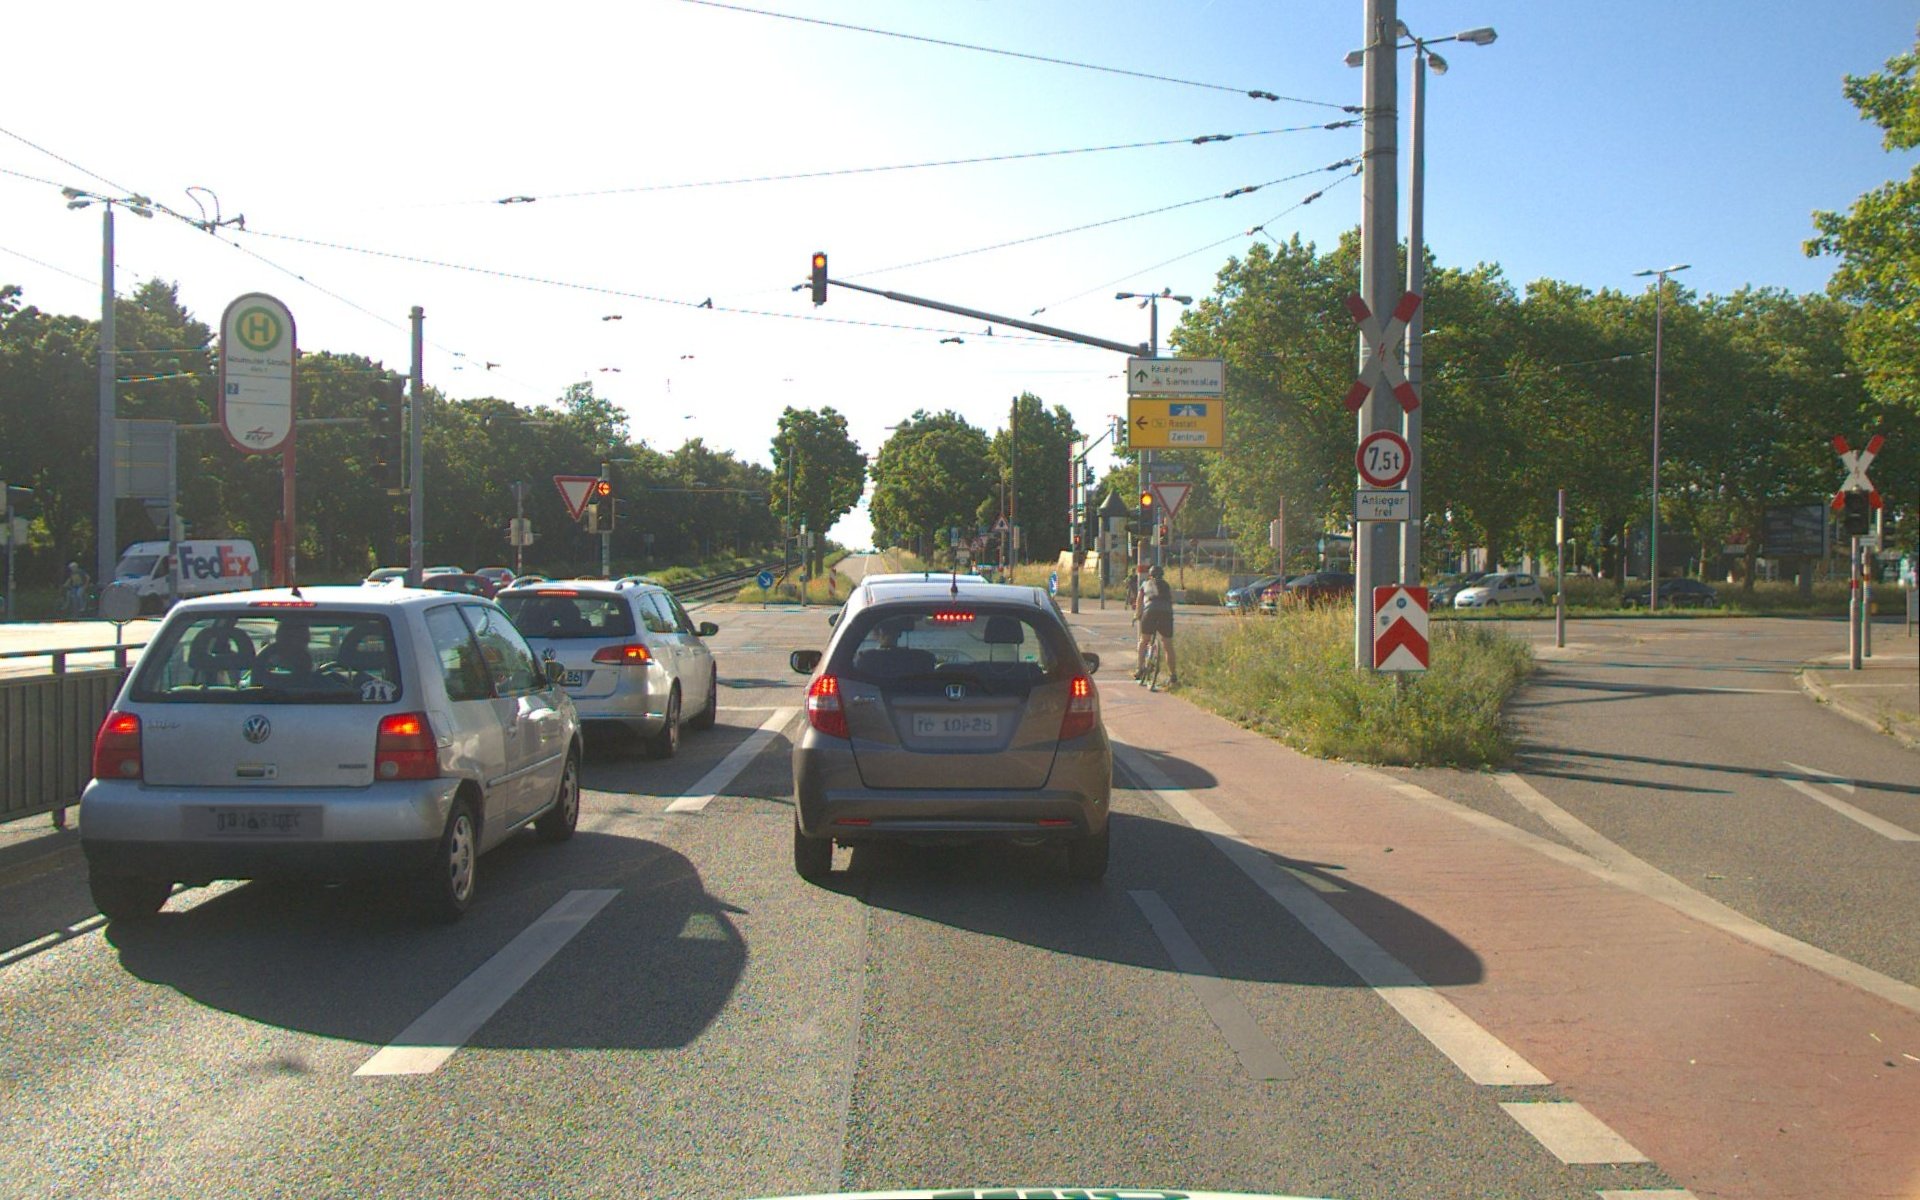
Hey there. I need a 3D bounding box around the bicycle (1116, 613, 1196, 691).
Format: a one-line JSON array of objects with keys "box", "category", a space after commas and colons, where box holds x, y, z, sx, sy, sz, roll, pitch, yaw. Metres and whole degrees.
[{"box": [2.762, 0.707, 23.613, 0.707, 1.006, 2.875, 1, 0, -1], "category": "bicycle"}]

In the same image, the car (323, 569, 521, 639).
[{"box": [-11.697, 0.052, 36.162, 1.577, 1.427, 4.003, 0, 1, 35], "category": "car"}]

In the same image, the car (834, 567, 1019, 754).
[{"box": [-0.337, 0.499, 16.320, 1.578, 1.589, 4.287, 0, 1, -1], "category": "car"}]

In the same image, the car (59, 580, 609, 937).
[{"box": [-2.912, 0.642, 8.439, 1.586, 1.442, 3.350, 0, 0, -1], "category": "car"}]

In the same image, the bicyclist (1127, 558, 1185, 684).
[{"box": [2.775, 0.294, 23.532, 0.652, 1.746, 0.948, 1, 0, -2], "category": "bicyclist"}]

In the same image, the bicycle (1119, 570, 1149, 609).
[{"box": [7.313, -0.465, 69.325, 0.801, 1.601, 3.217, 0, 1, 14], "category": "bicycle"}]

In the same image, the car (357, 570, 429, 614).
[{"box": [-21.246, -0.321, 62.115, 1.797, 1.575, 3.993, 0, 1, -8], "category": "car"}]

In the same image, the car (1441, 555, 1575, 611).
[{"box": [20.928, -0.660, 63.159, 4.823, 2.049, 1.985, 0, 1, -24], "category": "car"}]

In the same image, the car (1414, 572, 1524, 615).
[{"box": [20.537, -0.252, 66.709, 3.931, 1.606, 1.868, 1, 0, -22], "category": "car"}]

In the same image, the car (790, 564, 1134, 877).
[{"box": [-0.076, 0.556, 9.688, 1.635, 1.487, 3.584, 0, 1, -3], "category": "car"}]

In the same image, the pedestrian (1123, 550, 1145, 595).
[{"box": [7.269, -1.138, 69.189, 0.771, 1.868, 0.855, 0, 0, 15], "category": "pedestrian"}]

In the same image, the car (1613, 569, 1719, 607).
[{"box": [30.660, -0.520, 71.798, 4.449, 1.601, 1.681, -1, 1, -24], "category": "car"}]

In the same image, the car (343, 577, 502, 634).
[{"box": [-13.688, 0.116, 42.282, 1.499, 1.402, 3.658, 0, 1, 39], "category": "car"}]

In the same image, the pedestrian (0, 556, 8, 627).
[{"box": [-27.997, -0.253, 47.700, 0.735, 2.049, 0.789, 0, 1, -13], "category": "pedestrian"}]

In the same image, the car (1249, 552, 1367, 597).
[{"box": [12.356, -0.905, 58.628, 3.934, 1.557, 1.594, -1, 1, -24], "category": "car"}]

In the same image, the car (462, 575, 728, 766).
[{"box": [-3.168, 0.554, 15.103, 1.586, 1.482, 4.084, 1, 0, -1], "category": "car"}]

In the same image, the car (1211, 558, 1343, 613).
[{"box": [12.008, -0.529, 62.650, 4.625, 1.912, 1.985, 1, 0, -24], "category": "car"}]

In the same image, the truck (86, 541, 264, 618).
[{"box": [-28.191, -0.754, 59.752, 1.951, 2.610, 6.829, 0, 1, 13], "category": "truck"}]
